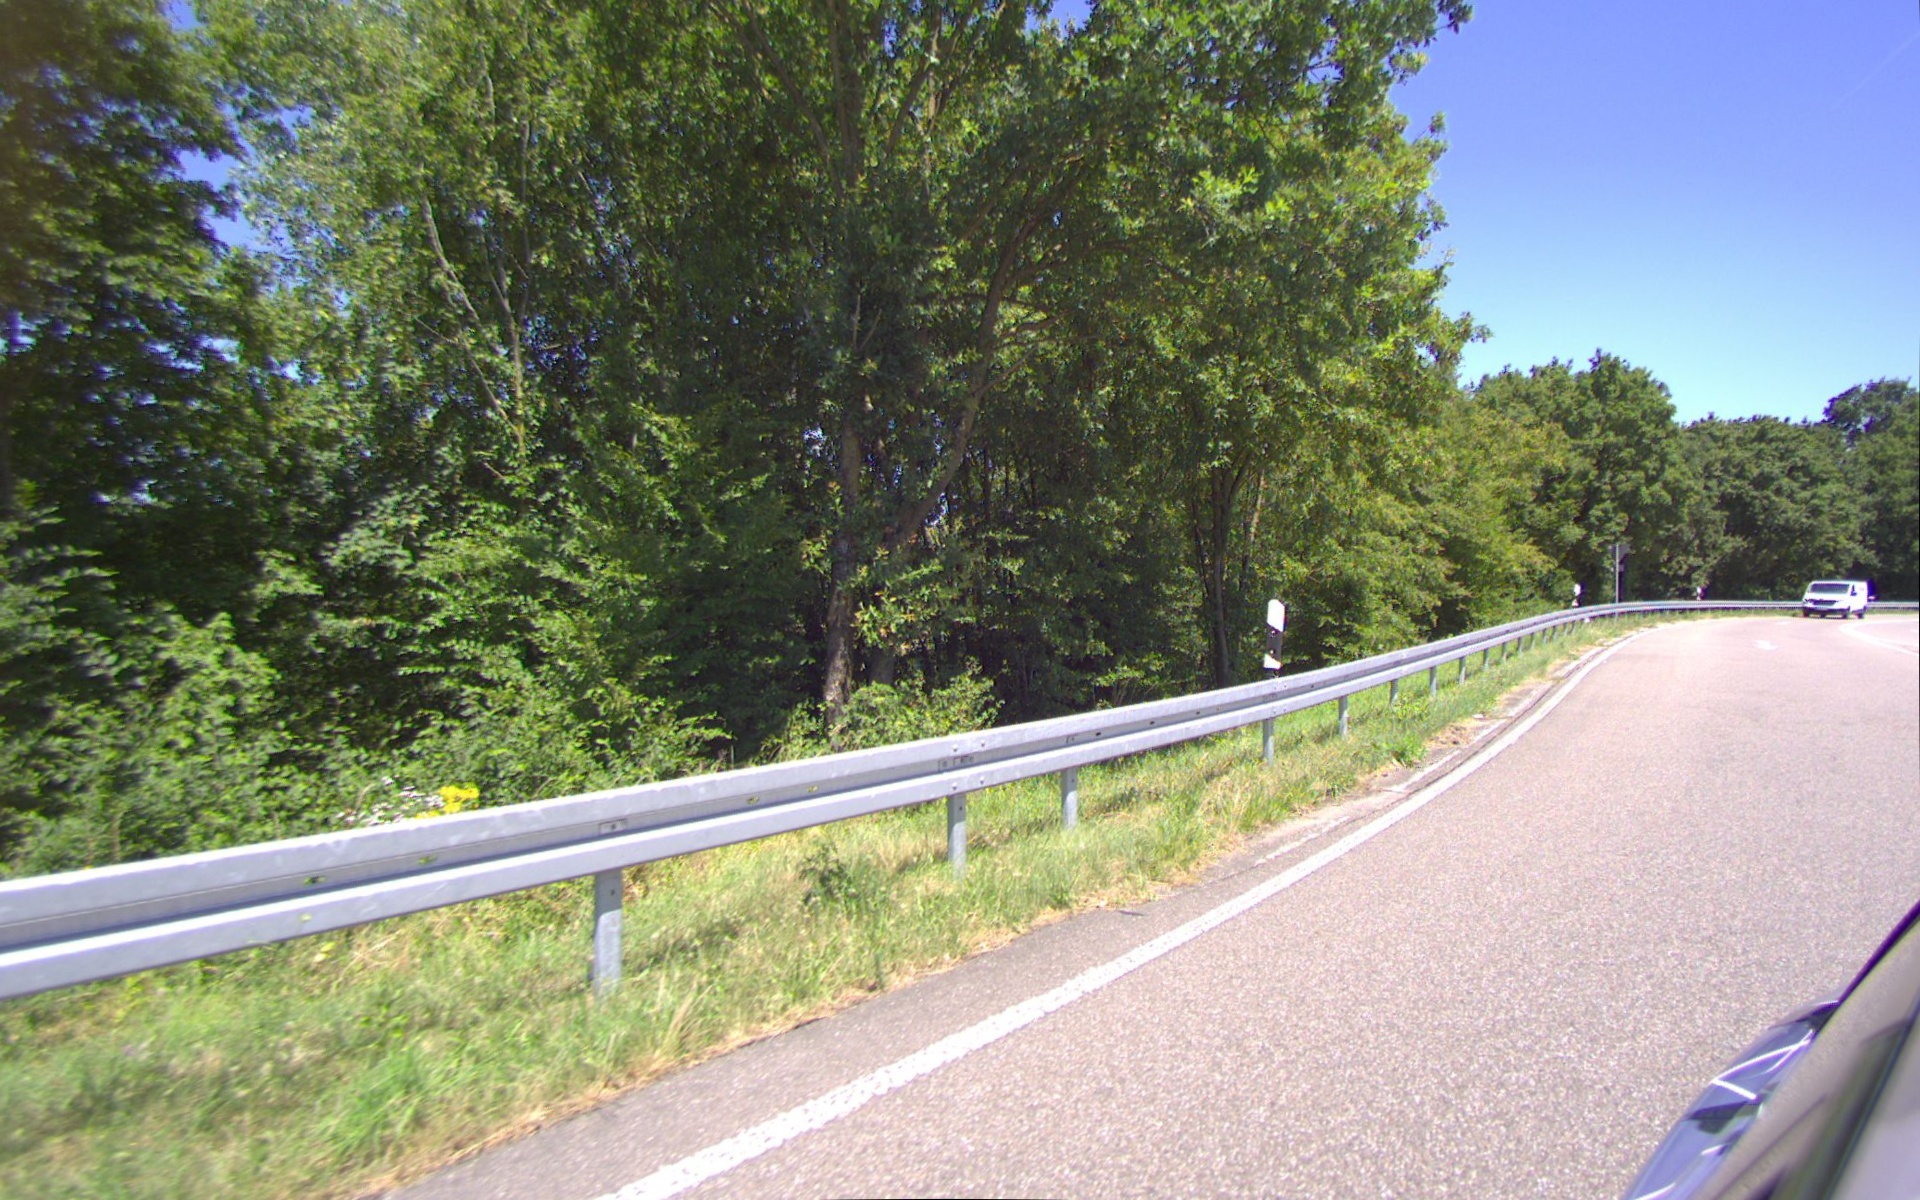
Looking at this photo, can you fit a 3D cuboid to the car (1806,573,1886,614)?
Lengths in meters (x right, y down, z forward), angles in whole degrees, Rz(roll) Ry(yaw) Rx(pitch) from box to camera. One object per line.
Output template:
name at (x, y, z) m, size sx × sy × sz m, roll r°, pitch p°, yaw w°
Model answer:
car at (47.186, -0.357, 53.860) m, size 5.327 × 2.058 × 2.225 m, roll 0°, pitch 1°, yaw -38°
